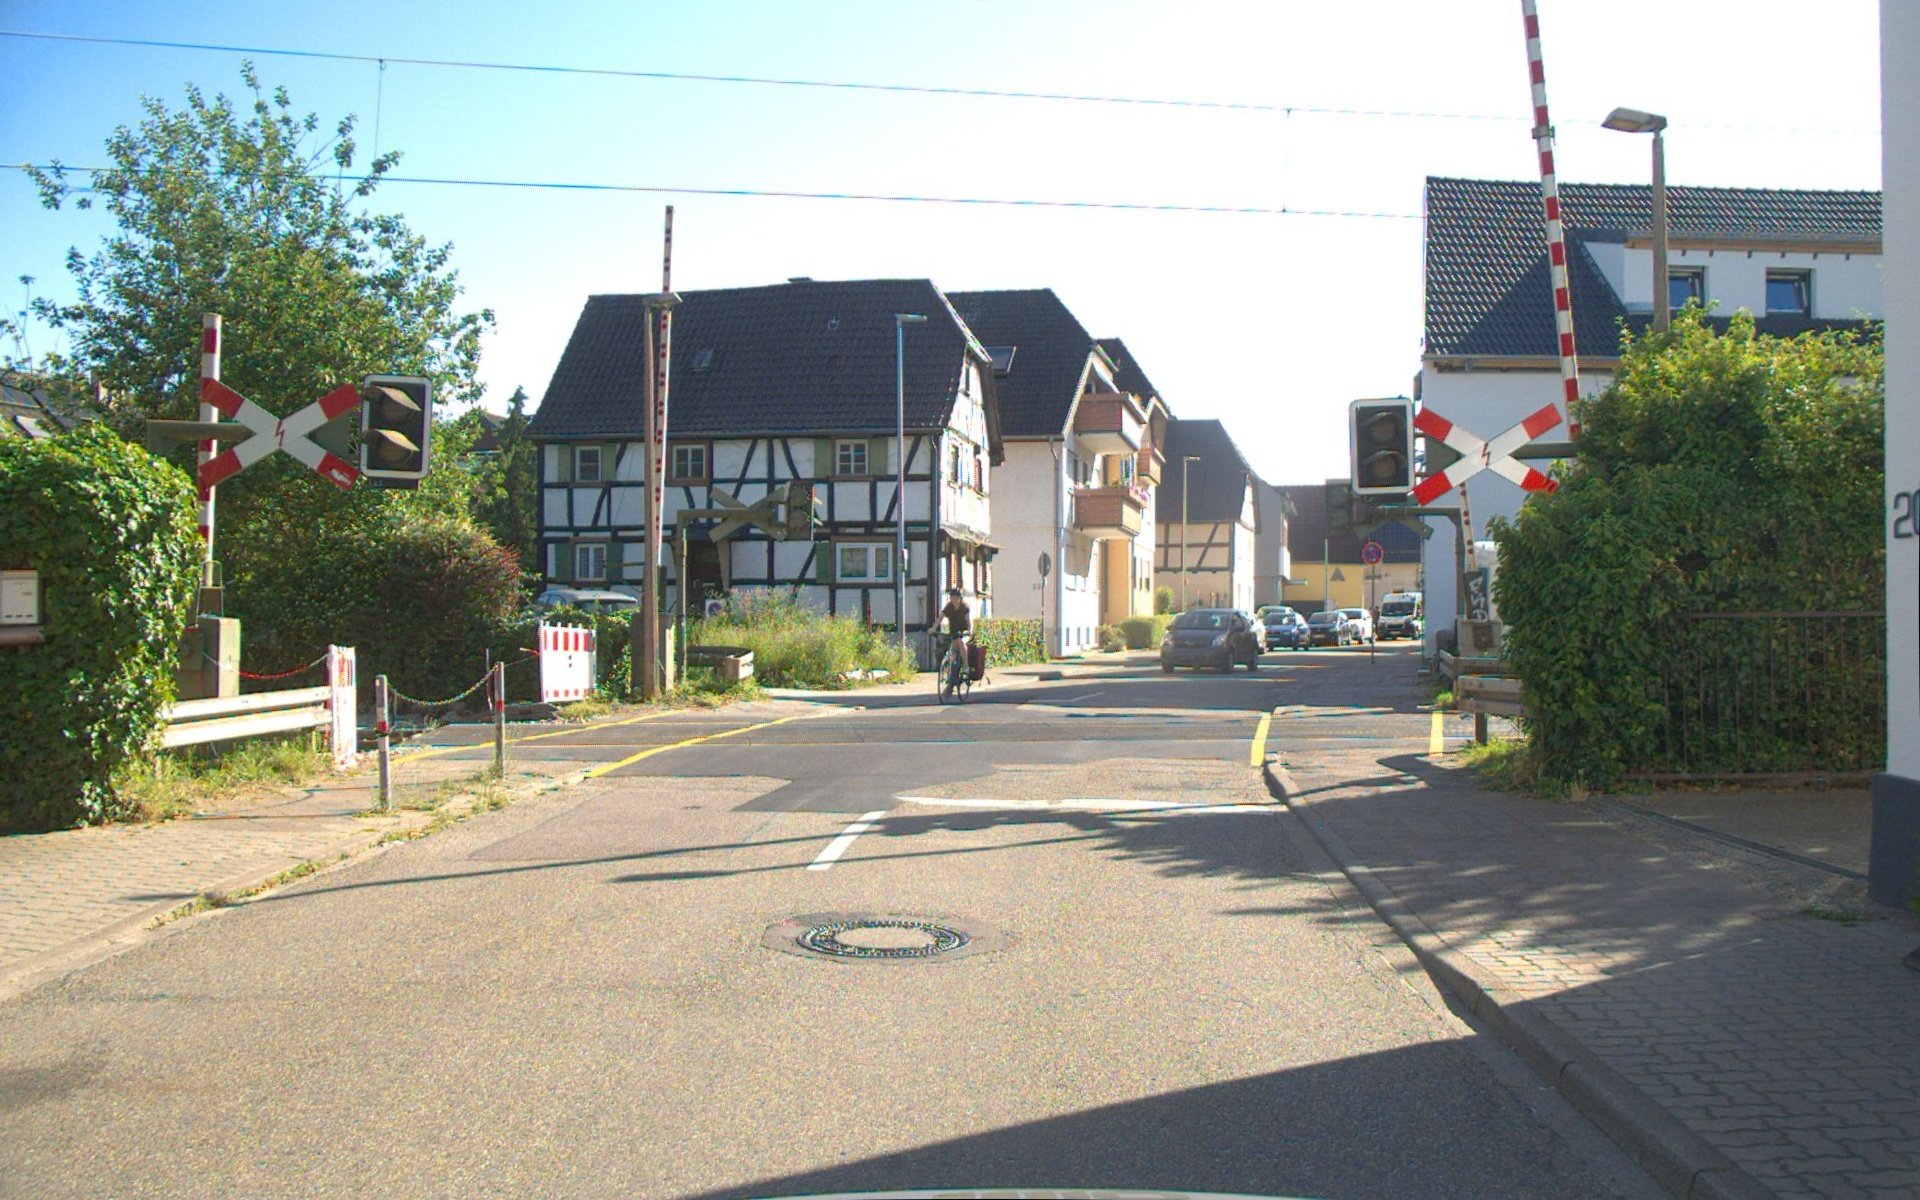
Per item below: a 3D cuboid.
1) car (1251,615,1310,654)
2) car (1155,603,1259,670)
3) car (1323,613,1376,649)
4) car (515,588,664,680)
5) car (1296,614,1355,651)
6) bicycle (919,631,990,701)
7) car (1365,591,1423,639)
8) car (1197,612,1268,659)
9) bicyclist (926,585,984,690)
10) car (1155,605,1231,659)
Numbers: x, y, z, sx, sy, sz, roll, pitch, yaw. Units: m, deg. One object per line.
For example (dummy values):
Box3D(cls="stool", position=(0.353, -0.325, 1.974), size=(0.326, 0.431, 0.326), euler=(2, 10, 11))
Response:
Box3D(cls="car", position=(12.403, 1.337, 63.859), size=(1.605, 1.466, 4.075), euler=(-1, -1, 20))
Box3D(cls="car", position=(6.011, 0.860, 39.963), size=(1.652, 1.537, 3.653), euler=(0, -1, 23))
Box3D(cls="car", position=(18.120, 1.434, 76.821), size=(1.640, 1.599, 3.963), euler=(-2, -1, 24))
Box3D(cls="car", position=(-7.086, 0.622, 31.363), size=(1.665, 1.592, 3.961), euler=(3, -1, -29))
Box3D(cls="car", position=(16.087, 1.426, 72.706), size=(1.669, 1.545, 4.119), euler=(-2, -2, 24))
Box3D(cls="bicycle", position=(-0.061, 0.995, 25.310), size=(0.865, 1.023, 2.064), euler=(0, -2, 6))
Box3D(cls="car", position=(23.340, 0.813, 88.737), size=(2.036, 2.436, 5.204), euler=(-2, -2, 25))
Box3D(cls="car", position=(9.213, 1.182, 55.686), size=(1.638, 1.532, 4.095), euler=(-1, -1, 20))
Box3D(cls="bicyclist", position=(-0.068, 0.564, 25.305), size=(0.830, 1.568, 0.873), euler=(0, -1, 3))
Box3D(cls="car", position=(7.254, 0.974, 51.256), size=(1.597, 1.532, 3.854), euler=(-3, -1, 18))
